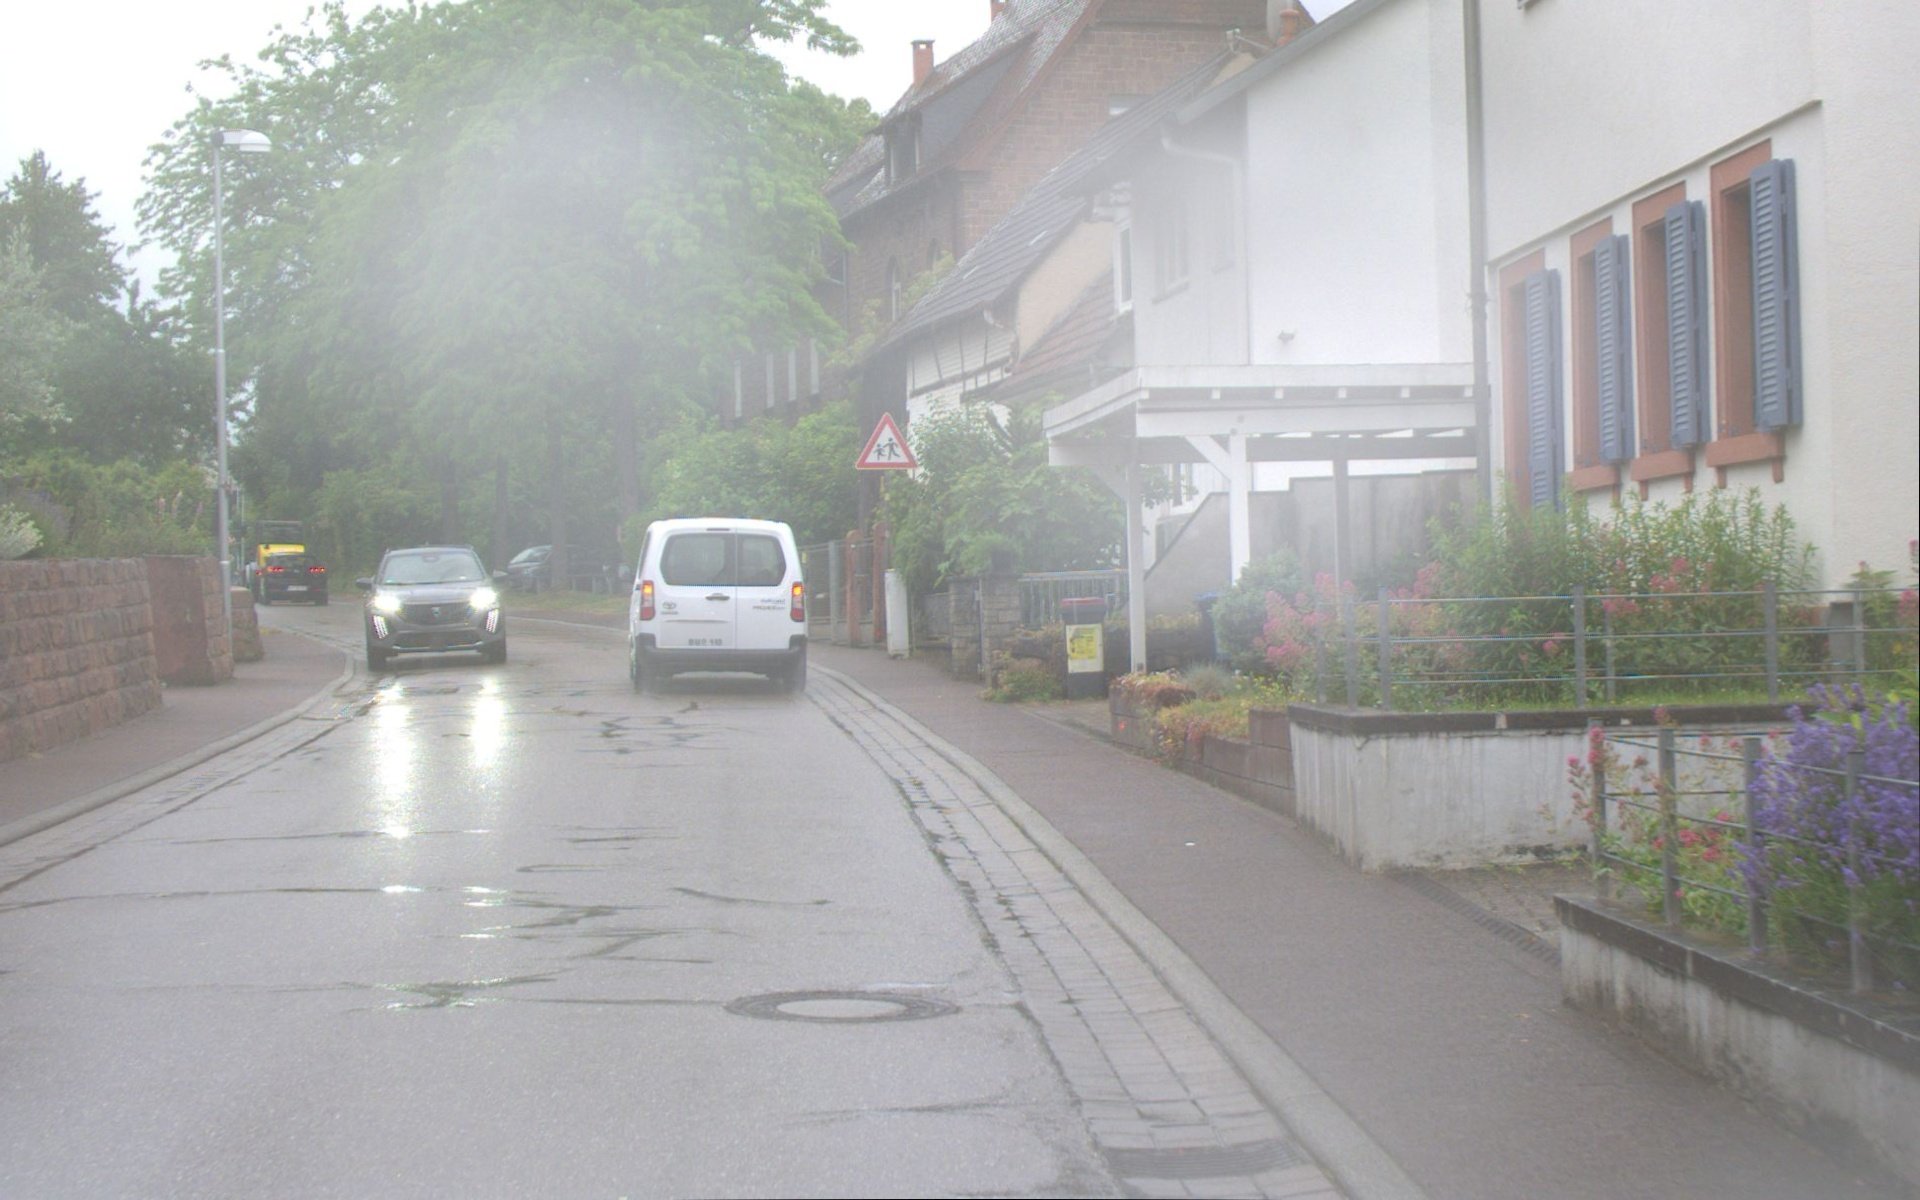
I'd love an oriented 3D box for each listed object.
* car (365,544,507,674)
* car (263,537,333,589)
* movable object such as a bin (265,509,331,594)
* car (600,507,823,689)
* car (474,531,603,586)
[{"bbox_3d":[-6.915,0.082,45.283,1.699,1.541,3.852,-3,1,-9],"label":"car"},{"bbox_3d":[-18.238,-1.009,94.606,1.708,1.373,4.001,1,0,-14],"label":"car"},{"bbox_3d":[-20.456,-1.475,106.084,1.760,2.539,4.240,1,0,-14],"label":"movable object such as a bin"},{"bbox_3d":[-2.717,-0.058,36.777,1.896,1.801,4.001,-1,1,-11],"label":"car"},{"bbox_3d":[-12.217,-1.208,99.752,1.620,1.546,3.605,-1,0,38],"label":"car"}]
